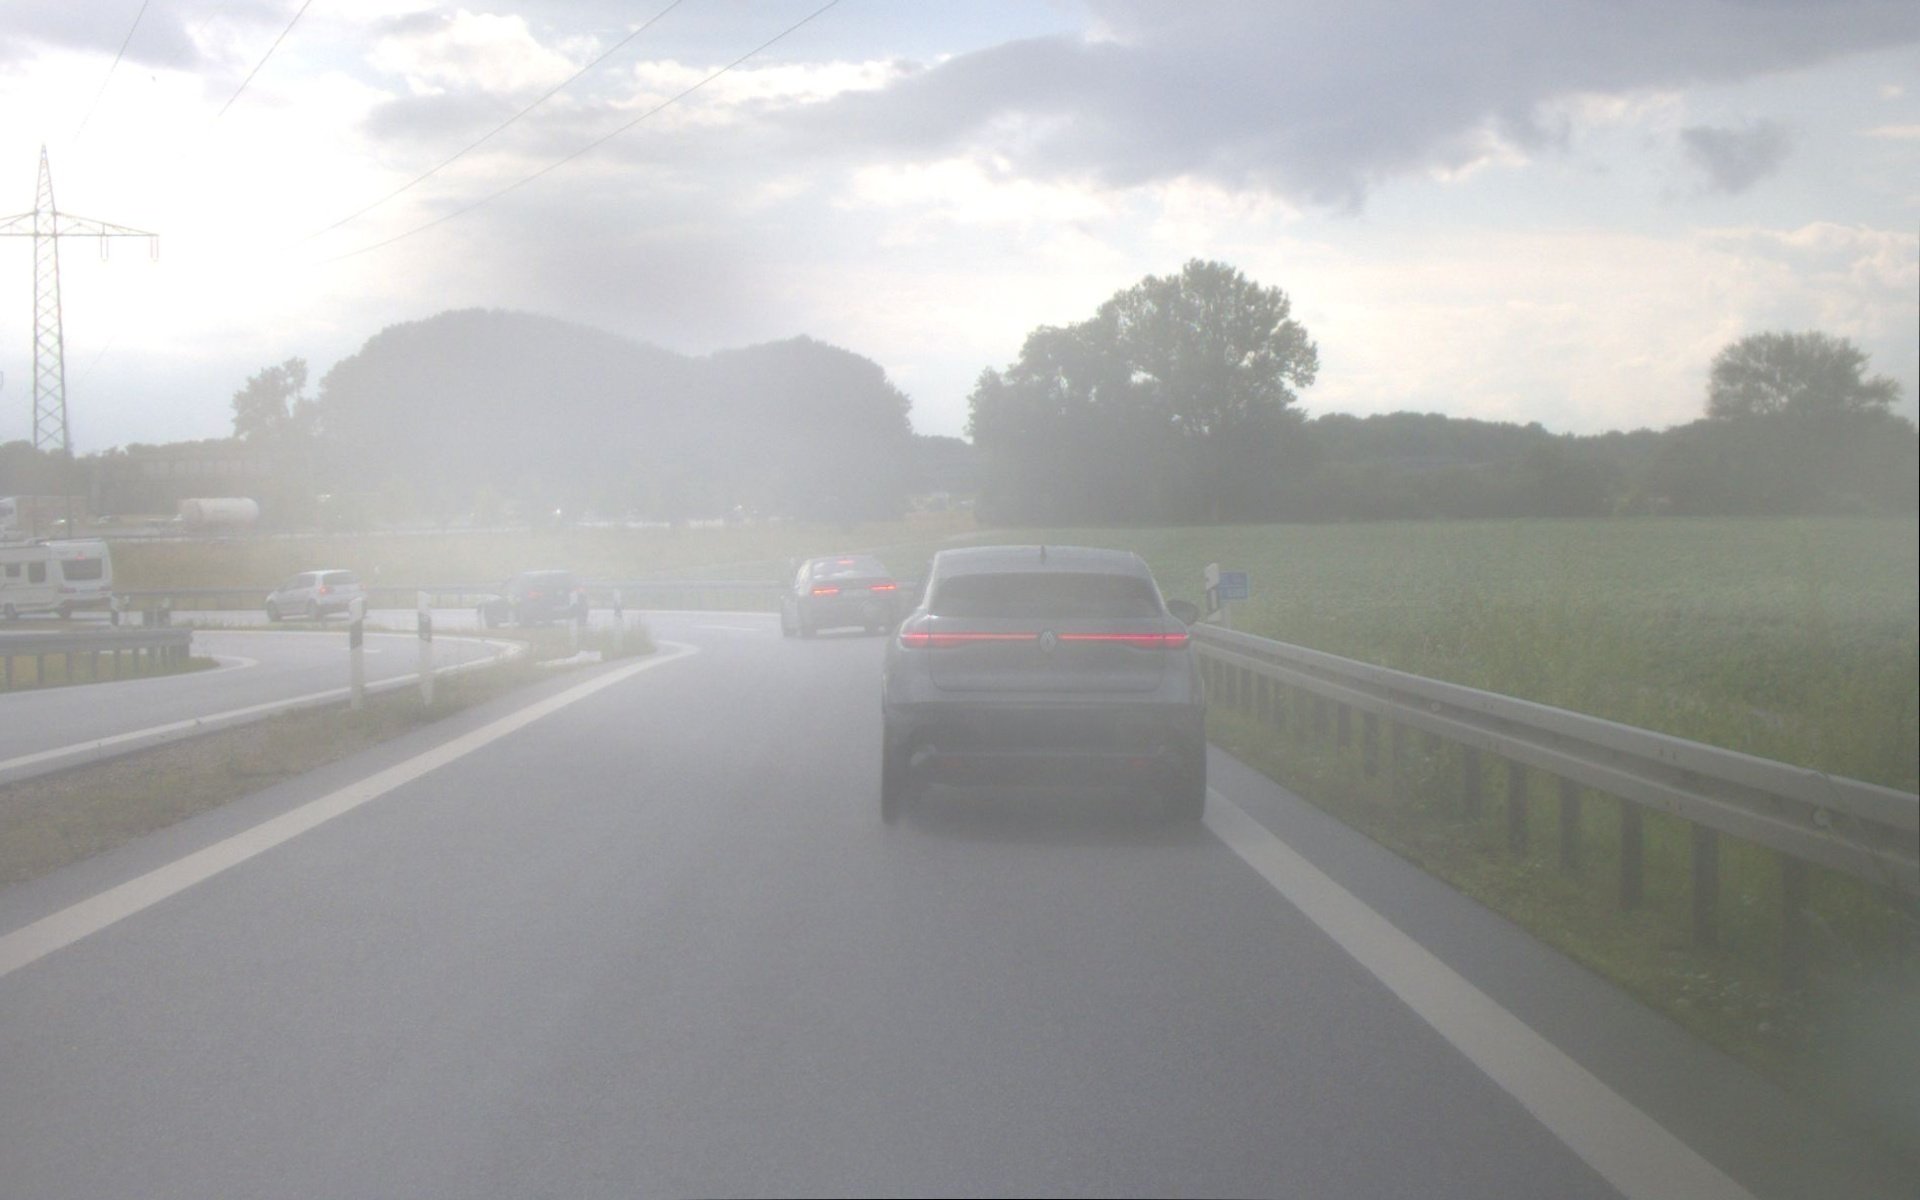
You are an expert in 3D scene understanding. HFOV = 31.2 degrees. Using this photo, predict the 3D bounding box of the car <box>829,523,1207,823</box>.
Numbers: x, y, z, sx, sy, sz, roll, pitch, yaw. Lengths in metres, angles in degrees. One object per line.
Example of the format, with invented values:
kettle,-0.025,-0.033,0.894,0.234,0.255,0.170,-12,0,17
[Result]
car,0.354,0.341,20.347,1.993,1.561,4.149,1,1,1

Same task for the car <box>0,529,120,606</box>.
car,-30.557,-1.125,115.978,2.352,2.299,5.127,-3,4,-38

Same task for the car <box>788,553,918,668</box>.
car,-2.092,0.159,65.614,2.121,2.011,5.536,-1,1,-5

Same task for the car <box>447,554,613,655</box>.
car,-11.305,0.086,90.040,2.351,2.299,5.129,-3,4,-32

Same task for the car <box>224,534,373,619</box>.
car,-20.182,-0.751,104.747,2.352,2.299,5.127,-3,4,-38
